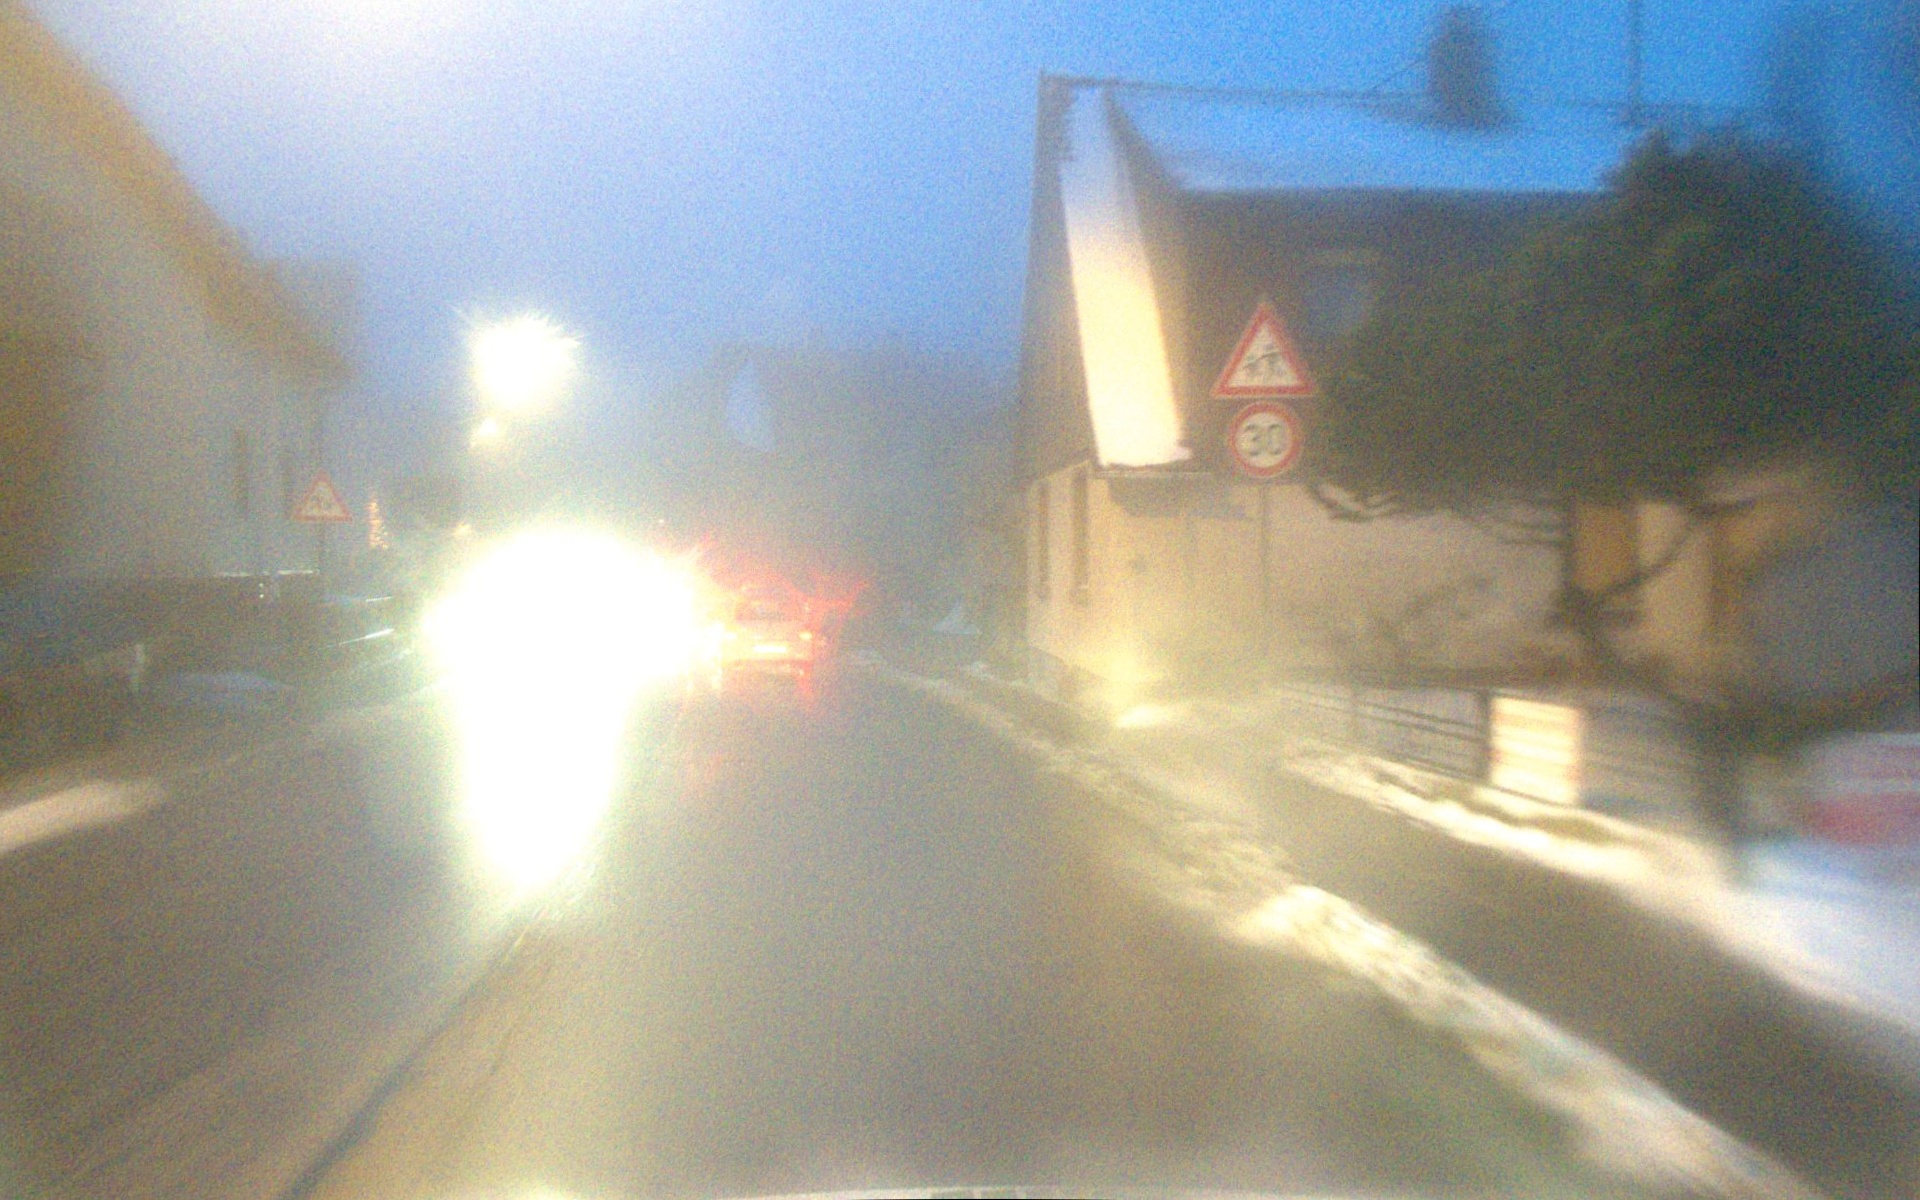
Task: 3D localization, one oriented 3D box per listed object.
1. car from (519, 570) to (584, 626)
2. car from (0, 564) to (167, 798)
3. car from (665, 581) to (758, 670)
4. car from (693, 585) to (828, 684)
[{"bbox_3d":[-13.222,-0.033,53.748,1.808,1.717,4.465,-1,-1,-11],"label":"car"},{"bbox_3d":[-7.815,0.522,12.730,1.957,1.549,4.182,2,1,-10],"label":"car"},{"bbox_3d":[-6.150,0.644,41.307,1.955,2.049,3.995,2,-1,-5],"label":"car"},{"bbox_3d":[-3.553,0.598,28.838,1.958,1.534,3.988,2,-1,-12],"label":"car"}]
